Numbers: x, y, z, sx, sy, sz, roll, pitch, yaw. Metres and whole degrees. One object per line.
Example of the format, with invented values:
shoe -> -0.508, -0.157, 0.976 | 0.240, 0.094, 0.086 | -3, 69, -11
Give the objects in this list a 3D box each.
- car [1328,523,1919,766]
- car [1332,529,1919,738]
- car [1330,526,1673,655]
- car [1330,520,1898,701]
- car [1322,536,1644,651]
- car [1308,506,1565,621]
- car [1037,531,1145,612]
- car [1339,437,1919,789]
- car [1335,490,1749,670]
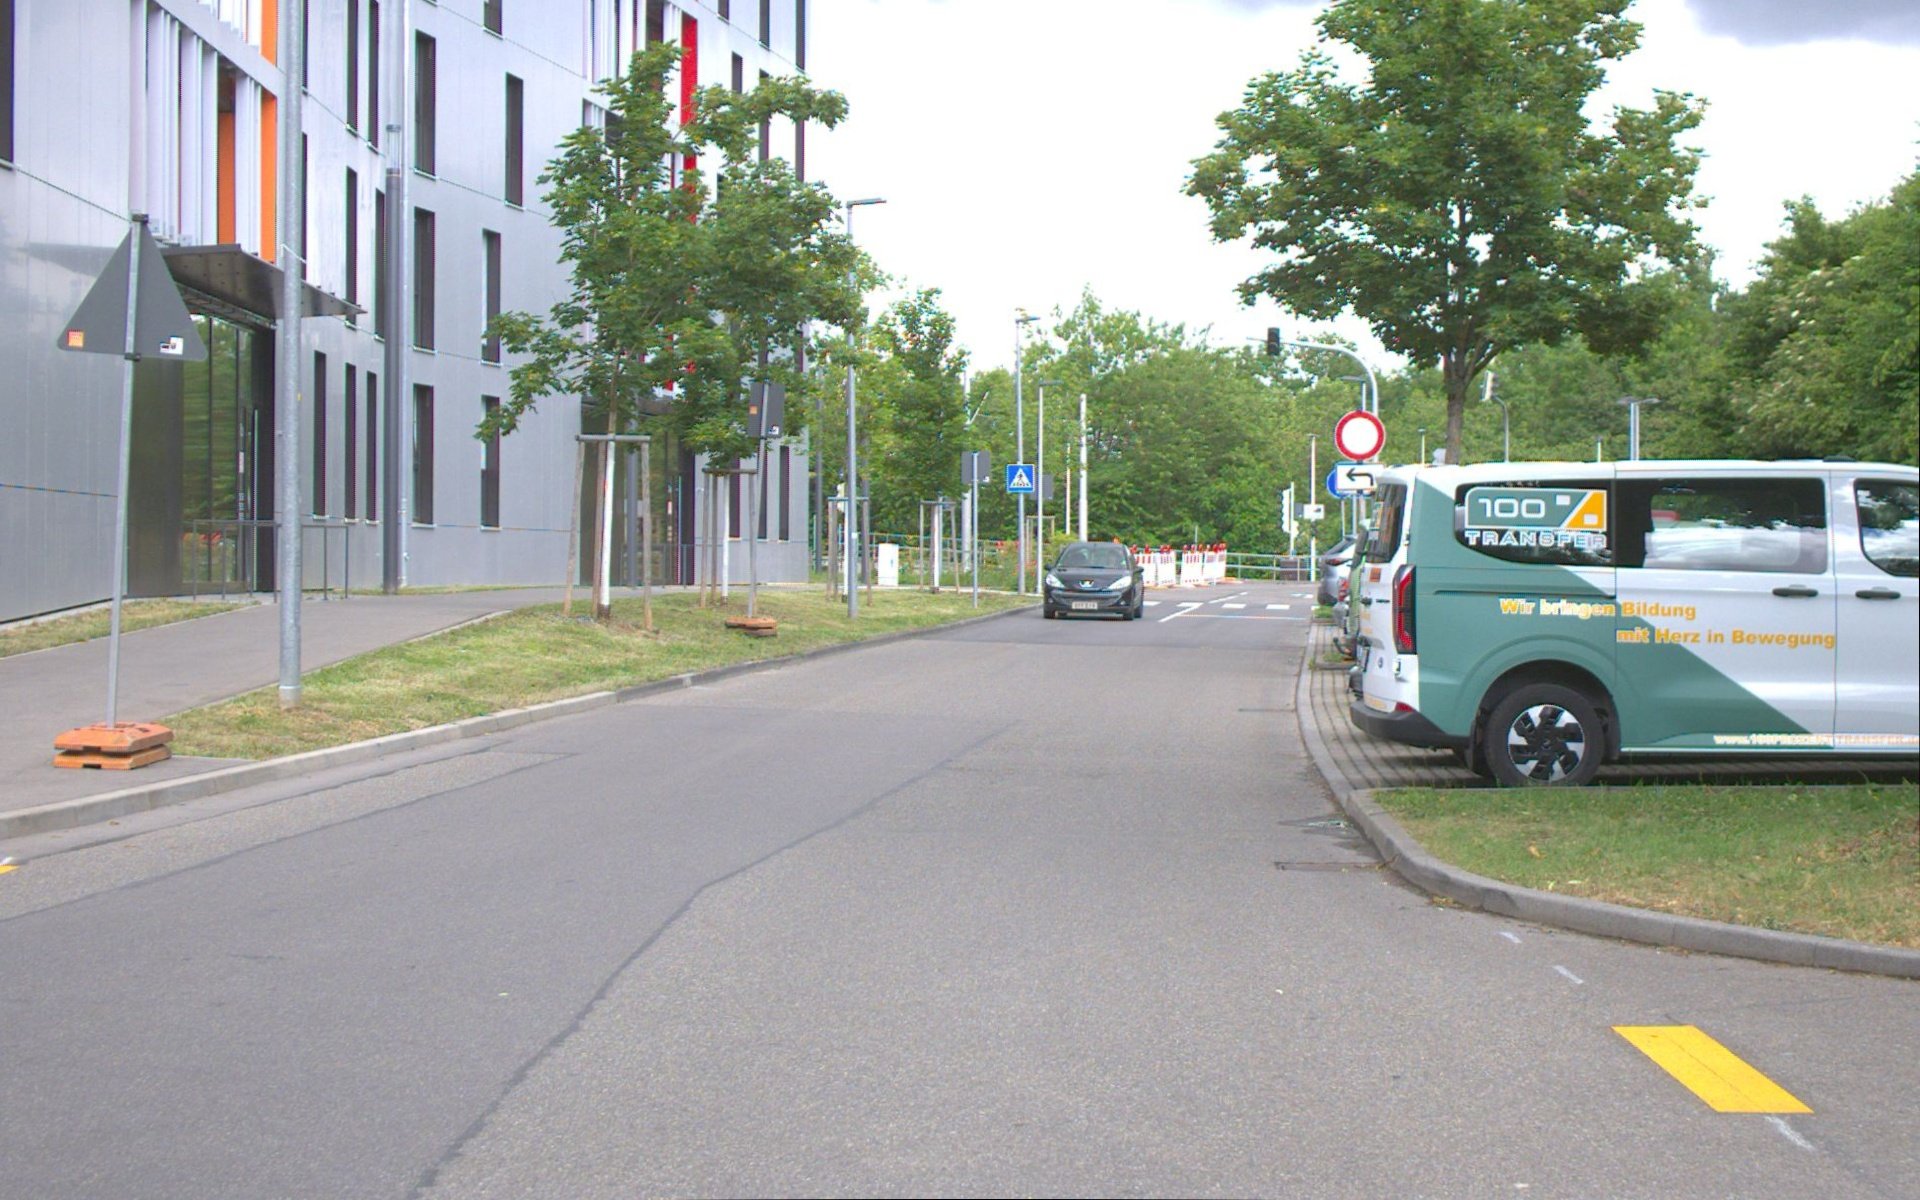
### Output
car -> 4.887, 0.270, 23.184 | 4.704, 1.511, 1.846 | -1, 1, 4
car -> 5.182, 0.226, 25.679 | 4.724, 1.429, 2.056 | -1, 1, 5
car -> 7.225, -0.140, 46.241 | 4.379, 1.568, 1.916 | 2, 1, 4
car -> 5.803, 0.073, 30.983 | 4.725, 1.493, 2.111 | -1, 1, 1
car -> 7.405, -0.106, 49.028 | 4.379, 1.470, 1.916 | 2, 2, 4
car -> 8.446, -0.672, 61.243 | 4.379, 1.897, 1.916 | 2, 1, 4
car -> 2.465, -0.553, 63.852 | 1.609, 1.383, 3.999 | 2, 1, 7
car -> 4.866, 0.039, 20.605 | 4.972, 1.965, 1.847 | -1, 1, 1
car -> 6.440, -0.239, 38.437 | 4.379, 1.897, 1.916 | -1, 1, 4
